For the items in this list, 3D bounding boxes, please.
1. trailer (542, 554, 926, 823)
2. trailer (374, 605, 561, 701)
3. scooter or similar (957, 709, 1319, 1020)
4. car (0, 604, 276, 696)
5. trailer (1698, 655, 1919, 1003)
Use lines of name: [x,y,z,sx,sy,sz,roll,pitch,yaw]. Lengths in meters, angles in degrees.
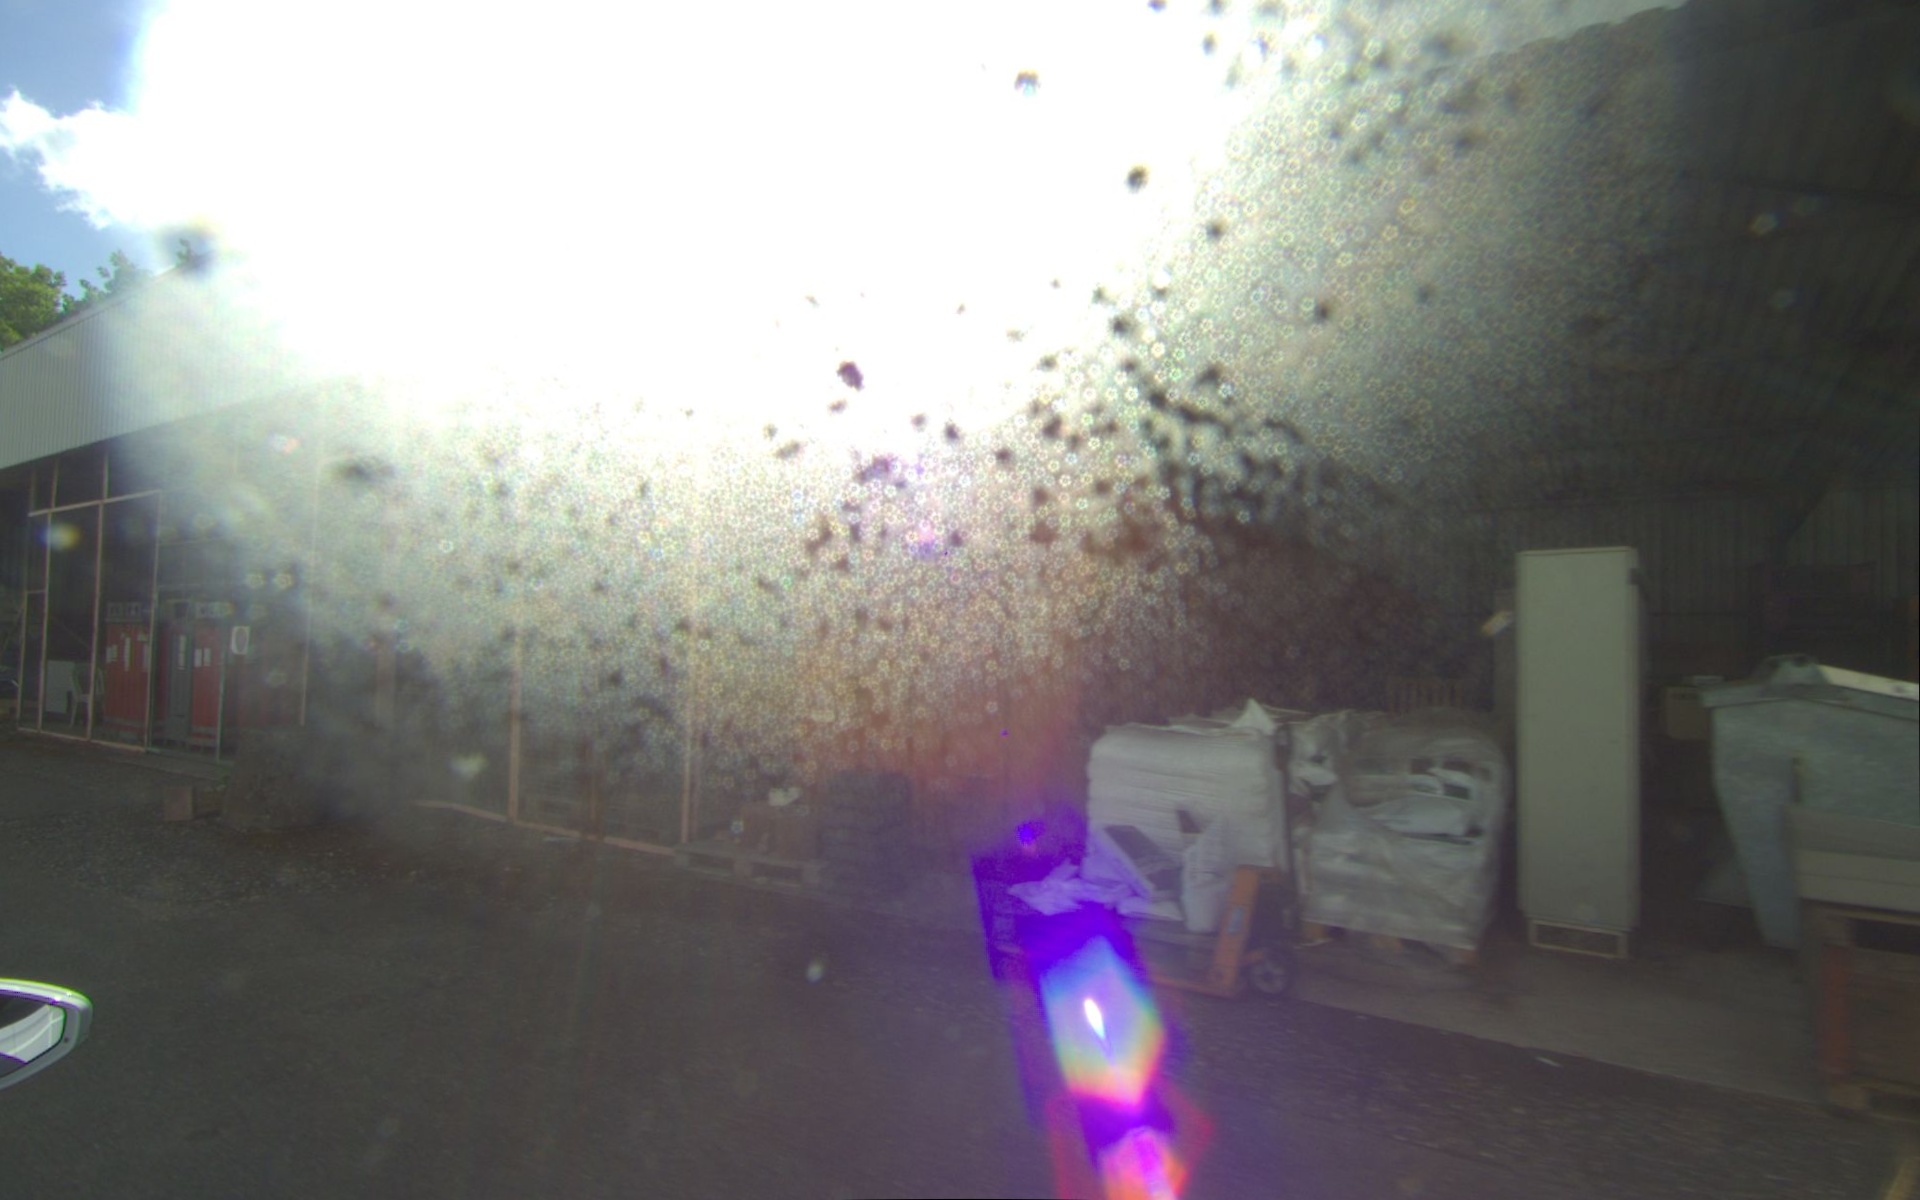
trailer: [-2.211,0.766,9.662,3.469,2.170,1.576,-1,-2,30]
trailer: [-12.174,1.318,24.888,2.431,2.164,3.397,0,-3,35]
scooter or similar: [0.787,1.116,4.622,1.570,1.148,0.519,-1,-3,33]
car: [-19.813,1.239,23.980,2.243,1.941,5.167,-1,-4,27]
trailer: [4.801,1.038,5.098,1.620,1.480,2.089,-2,-4,36]
